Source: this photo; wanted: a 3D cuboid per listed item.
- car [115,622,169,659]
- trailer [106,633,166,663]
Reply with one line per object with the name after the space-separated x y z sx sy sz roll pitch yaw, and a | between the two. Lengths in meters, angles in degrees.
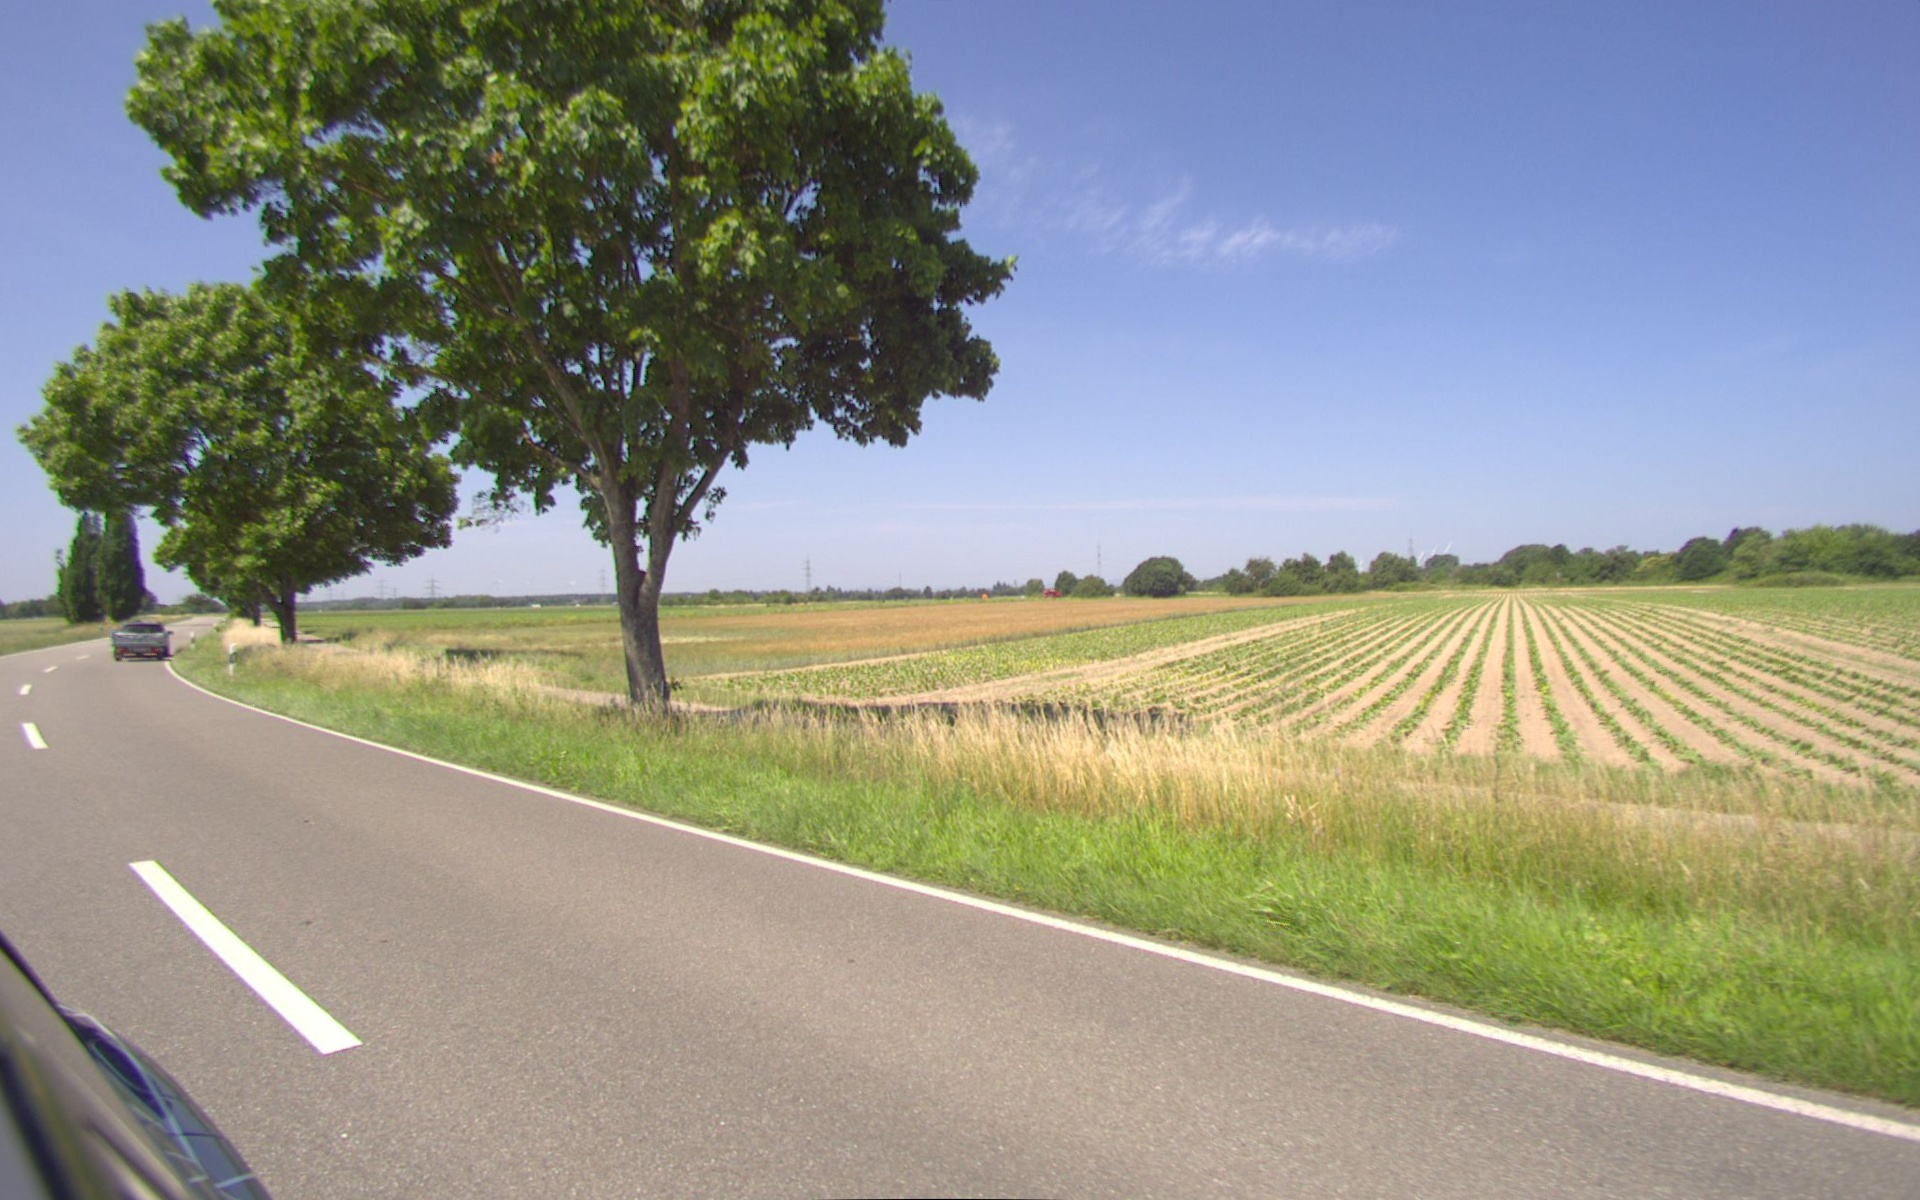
-33.588 1.660 41.622 1.622 1.440 4.189 2 -2 -38 | car
-31.105 1.795 38.297 1.601 1.073 4.127 3 -3 -37 | trailer
